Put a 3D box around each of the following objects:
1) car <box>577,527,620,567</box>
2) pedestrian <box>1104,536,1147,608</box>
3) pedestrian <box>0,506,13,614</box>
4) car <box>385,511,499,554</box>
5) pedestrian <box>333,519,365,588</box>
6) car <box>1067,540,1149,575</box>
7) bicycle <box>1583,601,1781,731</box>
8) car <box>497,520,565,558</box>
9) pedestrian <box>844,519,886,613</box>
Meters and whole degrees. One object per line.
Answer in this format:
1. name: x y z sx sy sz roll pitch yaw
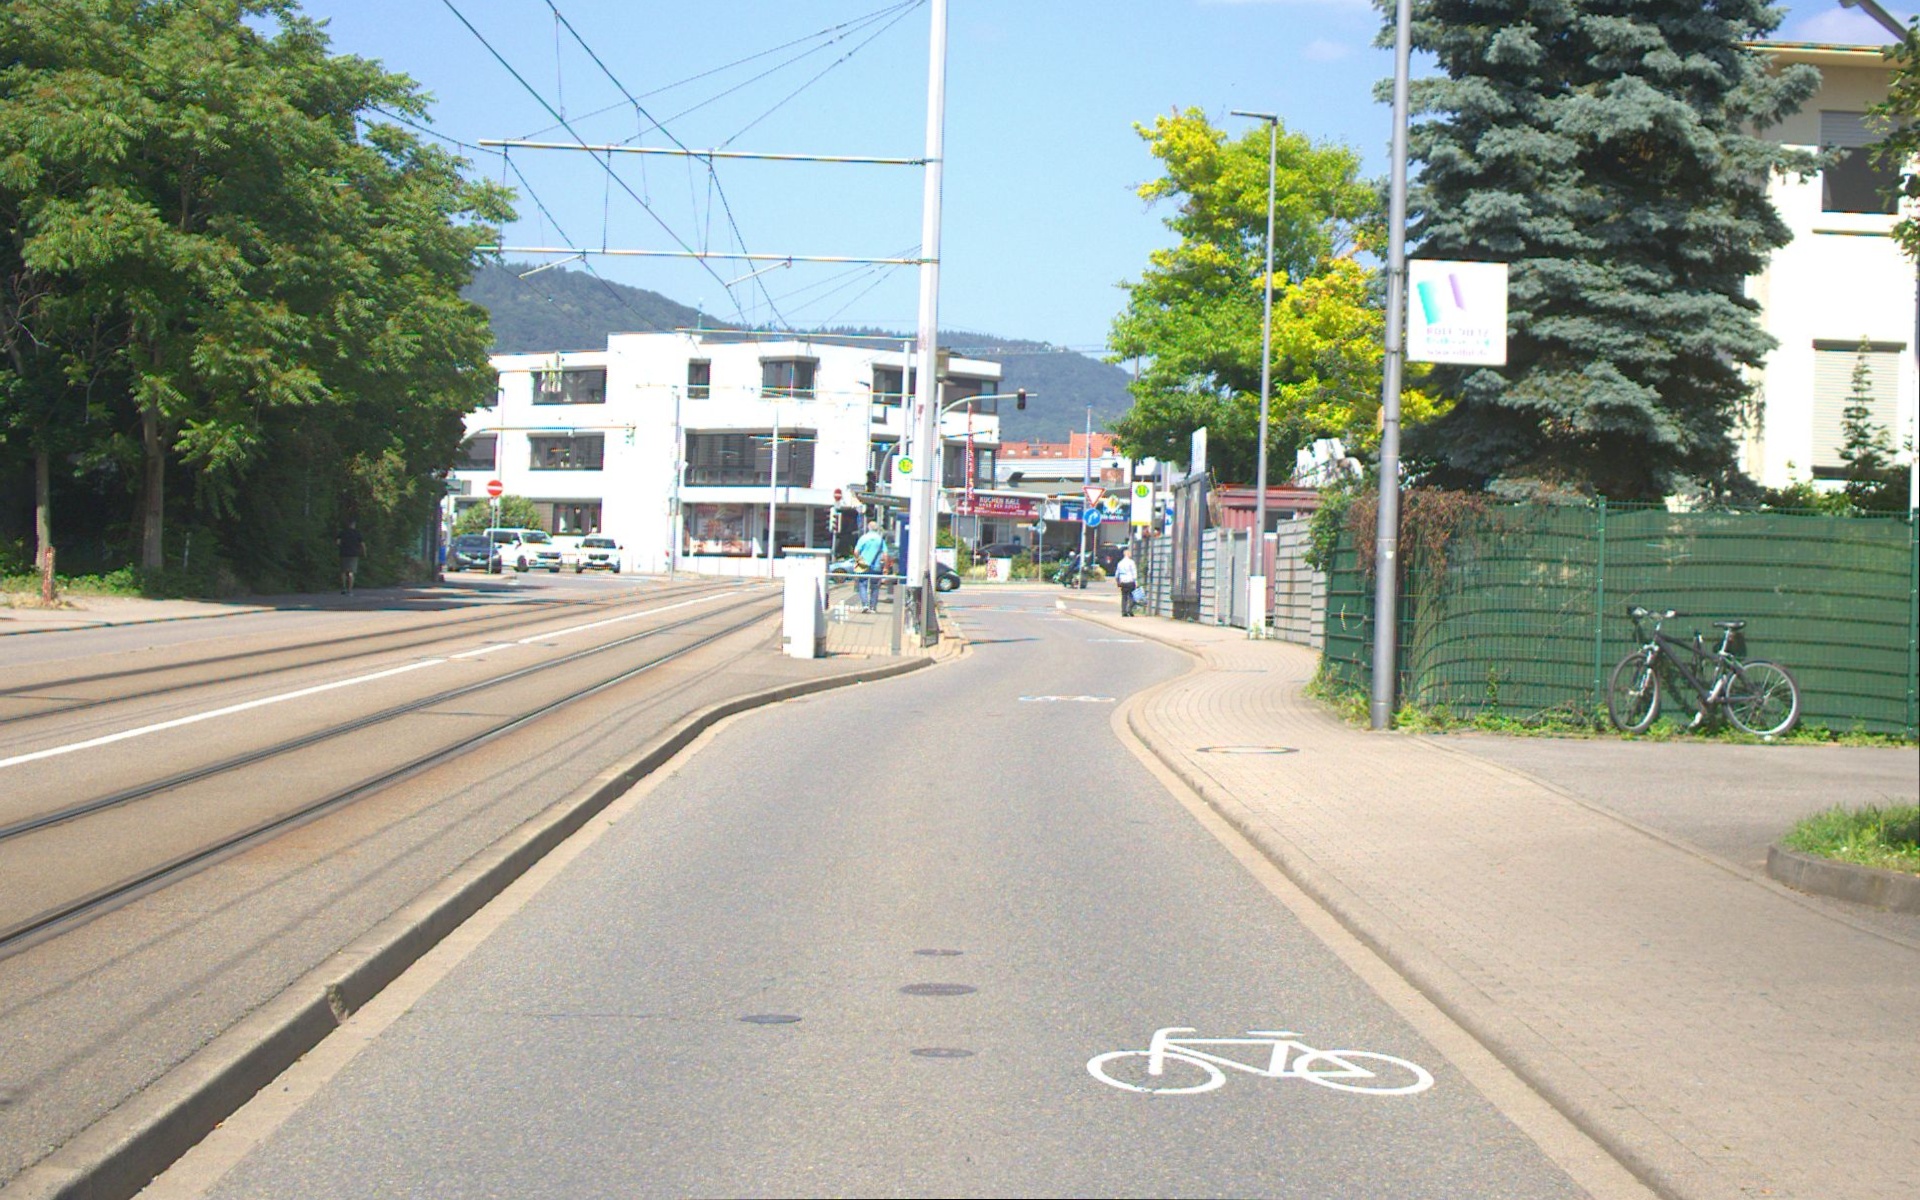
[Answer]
1. car: -15.392 -2.250 146.454 1.756 1.641 3.763 1 1 -6
2. pedestrian: 4.211 -0.715 87.634 0.940 1.781 0.953 2 2 -1
3. pedestrian: -14.031 -0.574 48.970 0.834 1.532 0.838 1 1 -1
4. car: -19.643 -2.574 130.464 3.987 1.546 1.792 1 1 2
5. pedestrian: -13.796 -1.046 77.657 0.584 1.532 0.657 1 1 -1
6. car: 7.401 -2.132 171.801 1.864 1.656 3.989 2 1 45
7. bicycle: 5.709 0.523 27.205 1.471 0.987 0.388 1 -2 -1
8. car: -19.659 -2.805 157.604 1.926 1.641 3.762 1 1 -27
9. pedestrian: -1.781 -0.640 64.637 0.743 1.734 0.727 1 1 -1
